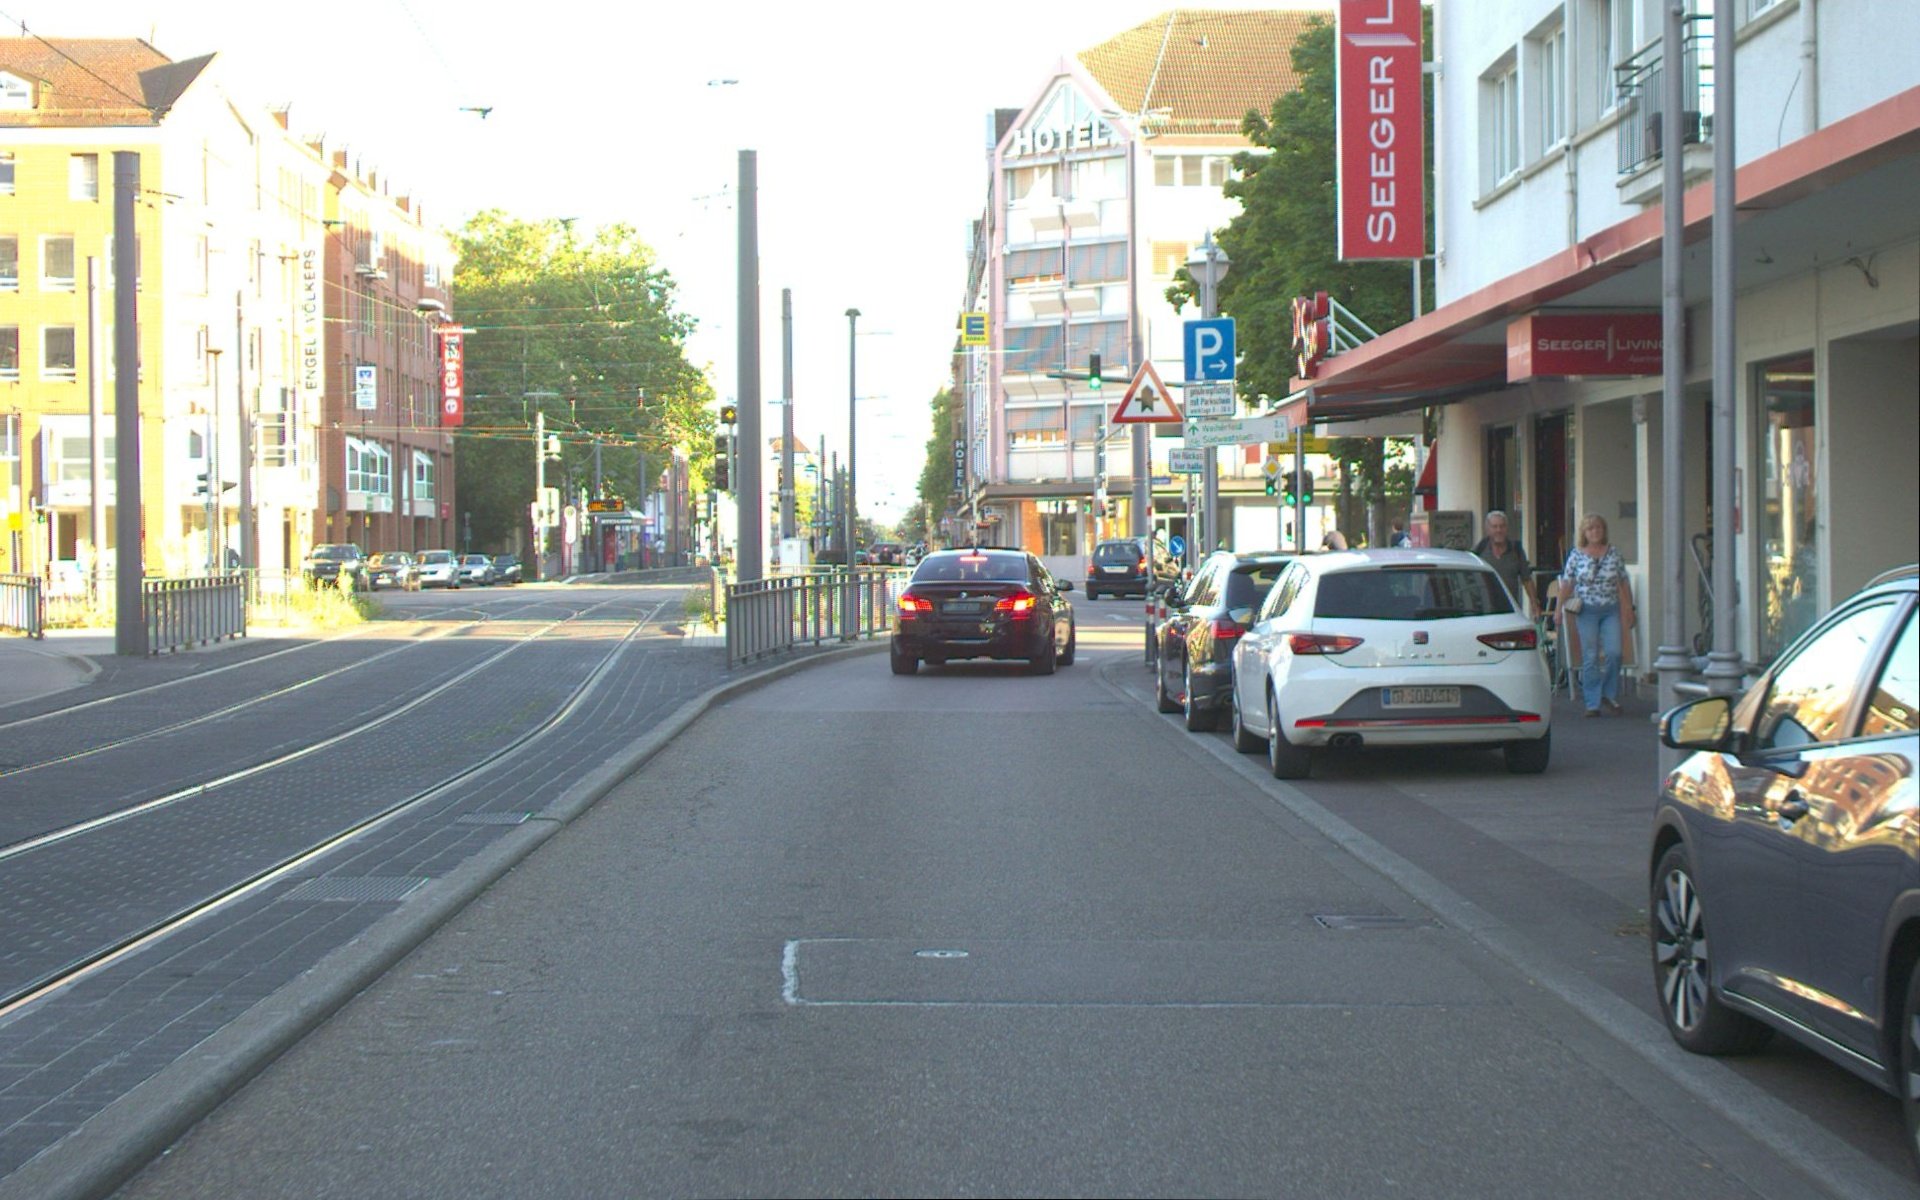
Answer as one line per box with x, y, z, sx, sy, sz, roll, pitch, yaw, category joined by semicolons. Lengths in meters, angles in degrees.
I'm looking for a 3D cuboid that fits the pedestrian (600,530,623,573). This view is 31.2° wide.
-16.456;-2.306;162.521;0.988;2.007;0.726;1;1;-2;pedestrian

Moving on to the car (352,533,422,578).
-20.677;-1.613;124.125;1.993;1.579;4.588;-1;1;-3;car

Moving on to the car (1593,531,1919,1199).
2.909;0.584;8.759;1.735;1.507;4.304;-2;1;0;car

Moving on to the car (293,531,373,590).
-20.700;-1.323;113.699;1.993;1.895;4.812;-1;1;-3;car

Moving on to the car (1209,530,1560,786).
2.739;0.313;23.000;1.785;1.507;4.052;-2;1;0;car

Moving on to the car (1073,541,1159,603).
4.006;-0.745;89.037;1.993;1.546;4.000;-1;1;-1;car

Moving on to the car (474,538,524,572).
-21.956;-2.178;163.959;1.993;1.579;4.480;-1;1;-3;car

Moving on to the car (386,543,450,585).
-21.167;-1.435;134.393;1.993;1.579;4.114;-1;1;-2;car

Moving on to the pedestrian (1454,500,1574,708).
4.677;0.025;29.093;0.827;1.712;0.843;-2;1;0;pedestrian

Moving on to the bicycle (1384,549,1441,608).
7.650;-0.368;58.168;0.464;0.967;1.801;0;1;-9;bicycle

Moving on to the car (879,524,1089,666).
0.342;-0.100;40.684;1.994;1.579;3.999;-1;1;7;car

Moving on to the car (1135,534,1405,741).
2.460;0.238;28.292;1.735;1.507;4.686;-2;1;0;car

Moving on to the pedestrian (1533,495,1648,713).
5.165;0.026;28.195;0.728;1.735;0.863;-2;1;0;pedestrian

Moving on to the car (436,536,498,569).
-21.928;-2.142;152.978;1.669;1.443;4.201;0;1;7;car

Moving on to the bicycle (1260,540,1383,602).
6.003;-0.492;57.163;0.838;1.016;2.077;-1;1;-38;bicycle

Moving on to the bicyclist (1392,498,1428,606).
7.623;-0.814;58.245;0.464;1.824;0.559;0;1;-9;bicyclist

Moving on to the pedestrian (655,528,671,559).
-16.042;-3.042;185.824;0.723;1.675;0.991;0;1;1;pedestrian

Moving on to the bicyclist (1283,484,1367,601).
6.057;-0.960;57.096;0.838;1.910;1.114;-1;1;-38;bicyclist
